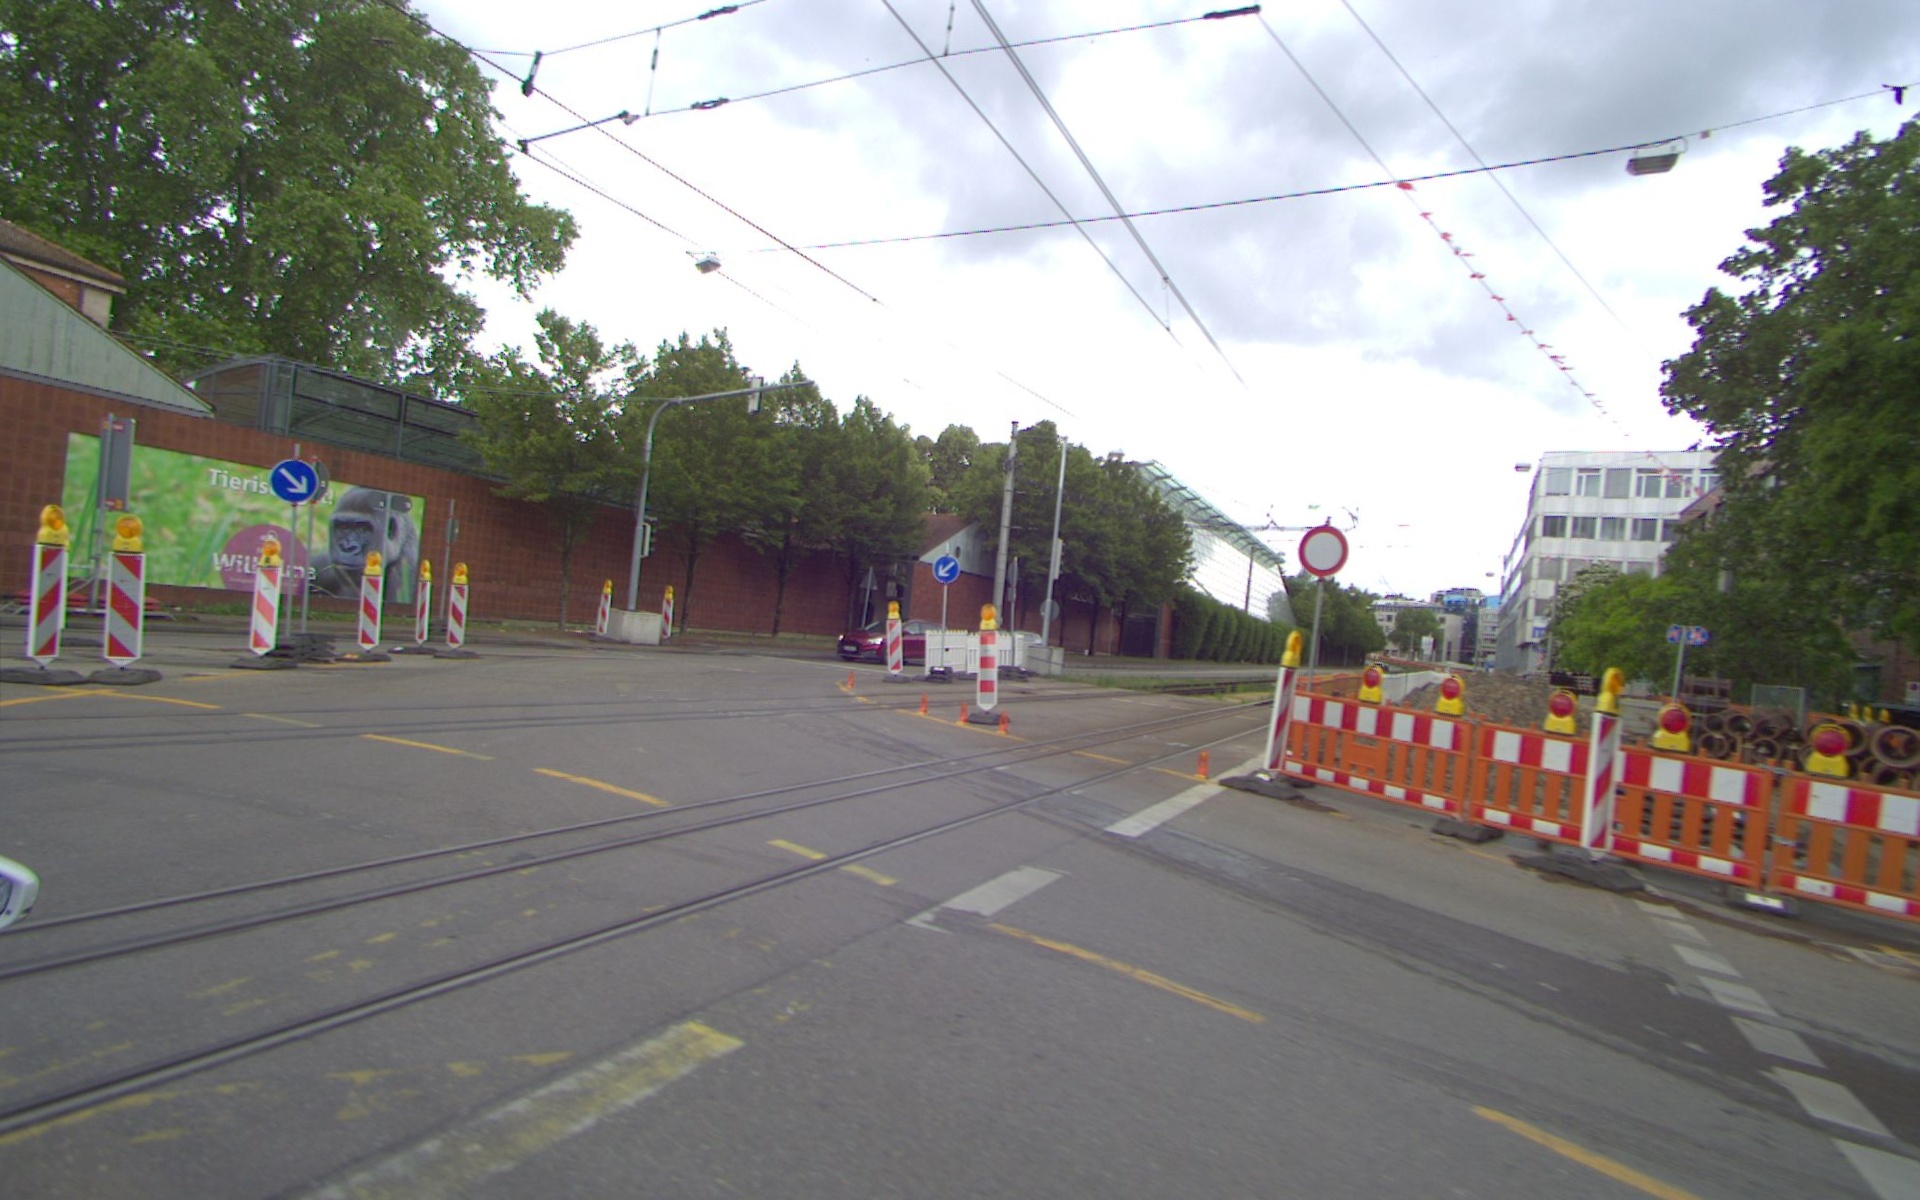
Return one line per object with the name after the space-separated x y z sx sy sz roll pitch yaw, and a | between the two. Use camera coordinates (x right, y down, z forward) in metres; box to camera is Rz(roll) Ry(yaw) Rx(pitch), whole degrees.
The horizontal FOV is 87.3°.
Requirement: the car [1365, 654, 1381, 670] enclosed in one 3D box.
64.779 9.699 157.718 1.965 2.033 4.004 5 -6 27 | car

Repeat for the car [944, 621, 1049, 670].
1.430 1.736 37.582 1.775 1.459 4.448 4 -3 34 | car

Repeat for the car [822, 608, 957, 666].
-2.157 1.213 31.897 1.851 1.459 4.448 4 -3 34 | car
